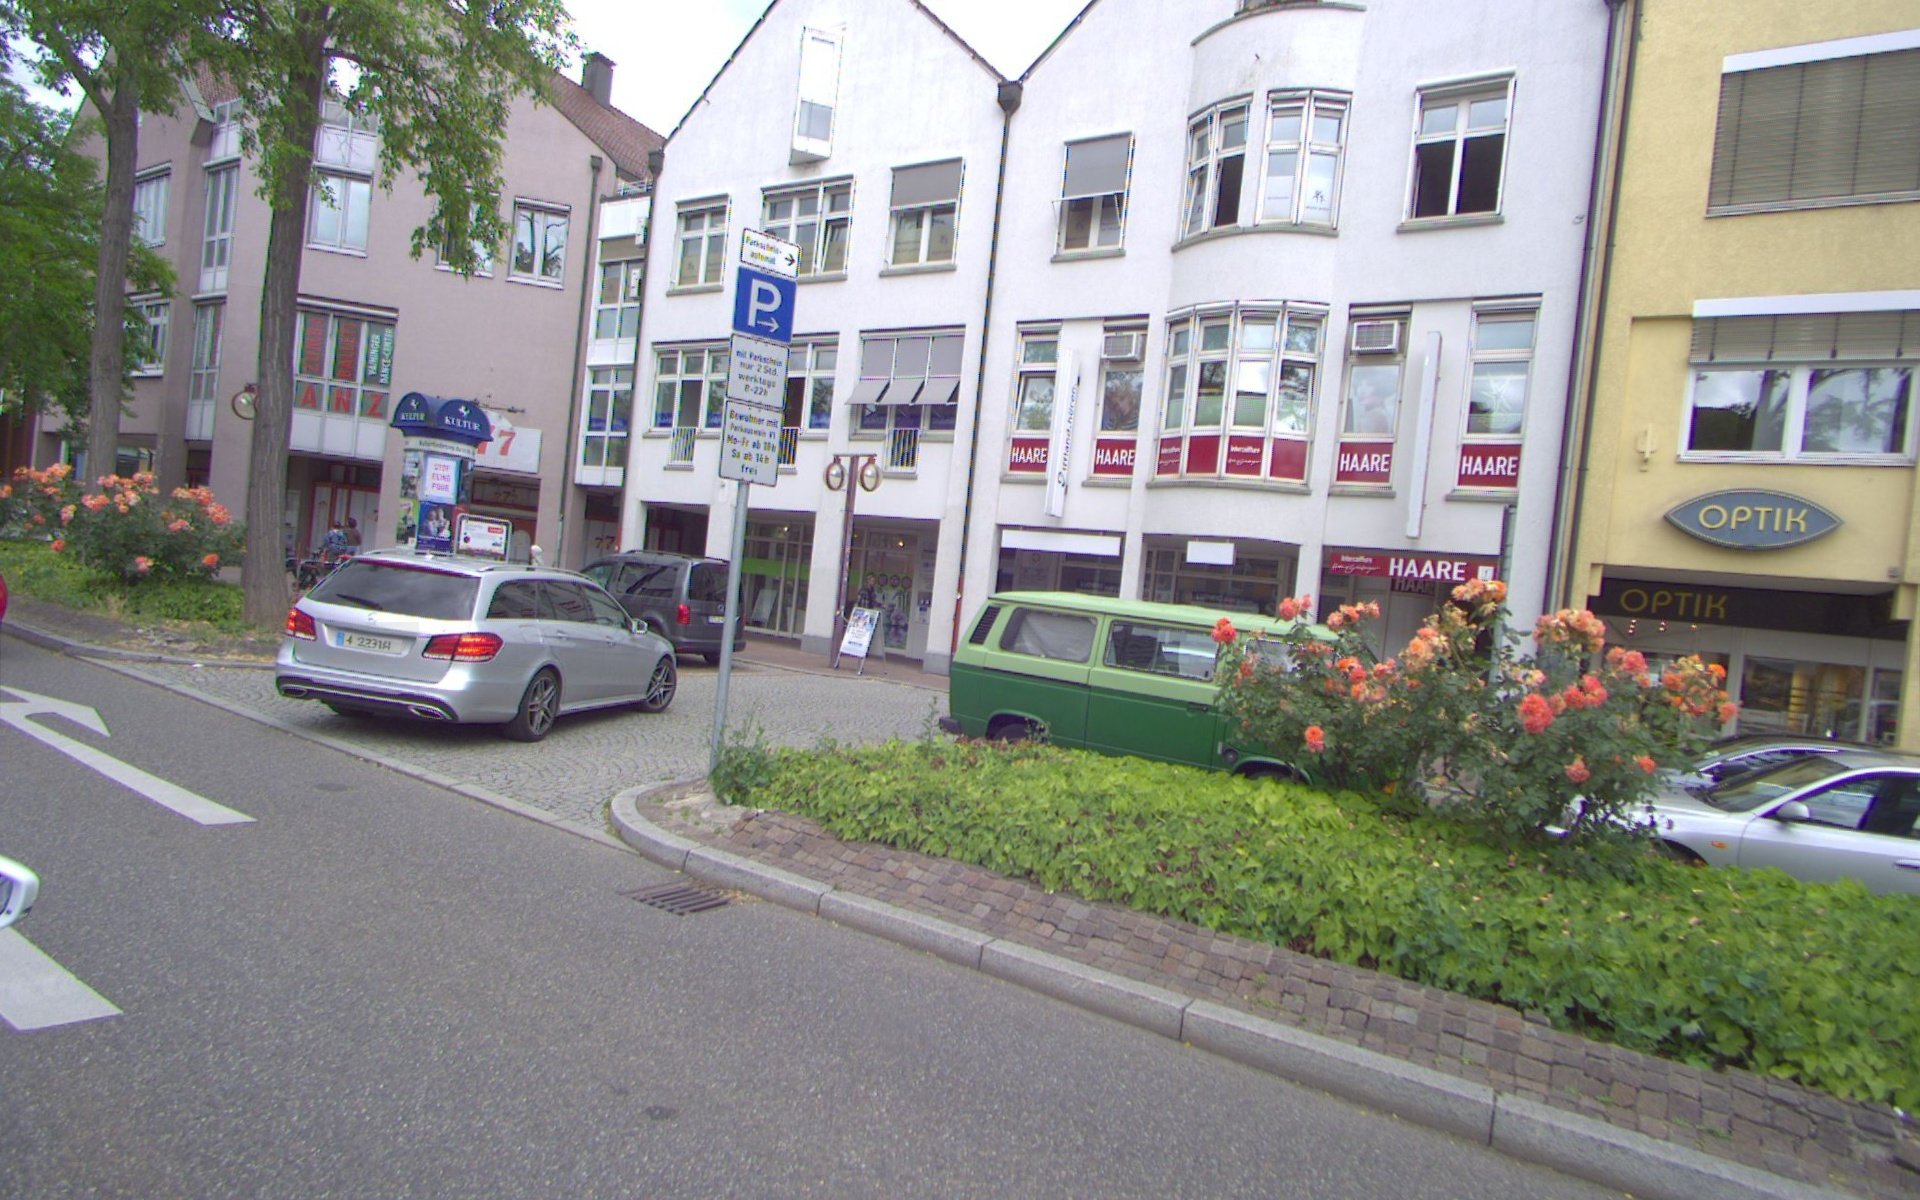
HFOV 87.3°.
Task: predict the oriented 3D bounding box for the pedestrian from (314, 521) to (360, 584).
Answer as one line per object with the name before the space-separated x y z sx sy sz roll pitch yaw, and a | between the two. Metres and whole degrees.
pedestrian | -16.103 -1.221 26.022 0.610 1.534 0.612 7 0 10

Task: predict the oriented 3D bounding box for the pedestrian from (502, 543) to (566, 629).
pedestrian | -8.914 -0.287 21.055 0.805 1.681 0.789 7 3 31

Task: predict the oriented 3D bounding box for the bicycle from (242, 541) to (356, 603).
bicycle | -13.006 -0.527 19.837 0.440 1.009 1.769 7 0 35

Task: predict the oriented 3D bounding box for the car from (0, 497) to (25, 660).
car | -10.396 -0.430 9.329 3.293 1.459 1.590 7 -2 32

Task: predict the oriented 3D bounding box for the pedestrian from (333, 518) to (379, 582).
pedestrian | -16.005 -1.310 26.675 0.610 1.583 0.665 7 0 10

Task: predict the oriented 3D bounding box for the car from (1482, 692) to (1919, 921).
car | 7.684 1.949 9.897 4.344 1.394 1.999 7 1 30

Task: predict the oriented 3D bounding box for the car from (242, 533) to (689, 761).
car | -4.305 0.407 9.716 1.787 1.465 4.372 8 -1 4

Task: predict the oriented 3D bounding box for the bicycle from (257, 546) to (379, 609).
bicycle | -12.498 -0.428 19.635 0.460 1.009 1.902 7 0 35

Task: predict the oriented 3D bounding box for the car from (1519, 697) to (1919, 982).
car | 6.616 1.782 7.292 4.344 1.468 1.765 7 0 30

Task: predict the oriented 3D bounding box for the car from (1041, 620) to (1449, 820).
car | 3.379 1.291 12.151 4.319 1.562 1.798 7 1 30

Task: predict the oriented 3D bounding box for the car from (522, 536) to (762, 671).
car | -5.649 0.042 17.802 3.897 1.855 1.640 7 1 27

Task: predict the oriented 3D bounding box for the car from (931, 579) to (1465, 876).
car | 2.219 1.015 9.754 4.527 1.900 1.882 7 1 30
